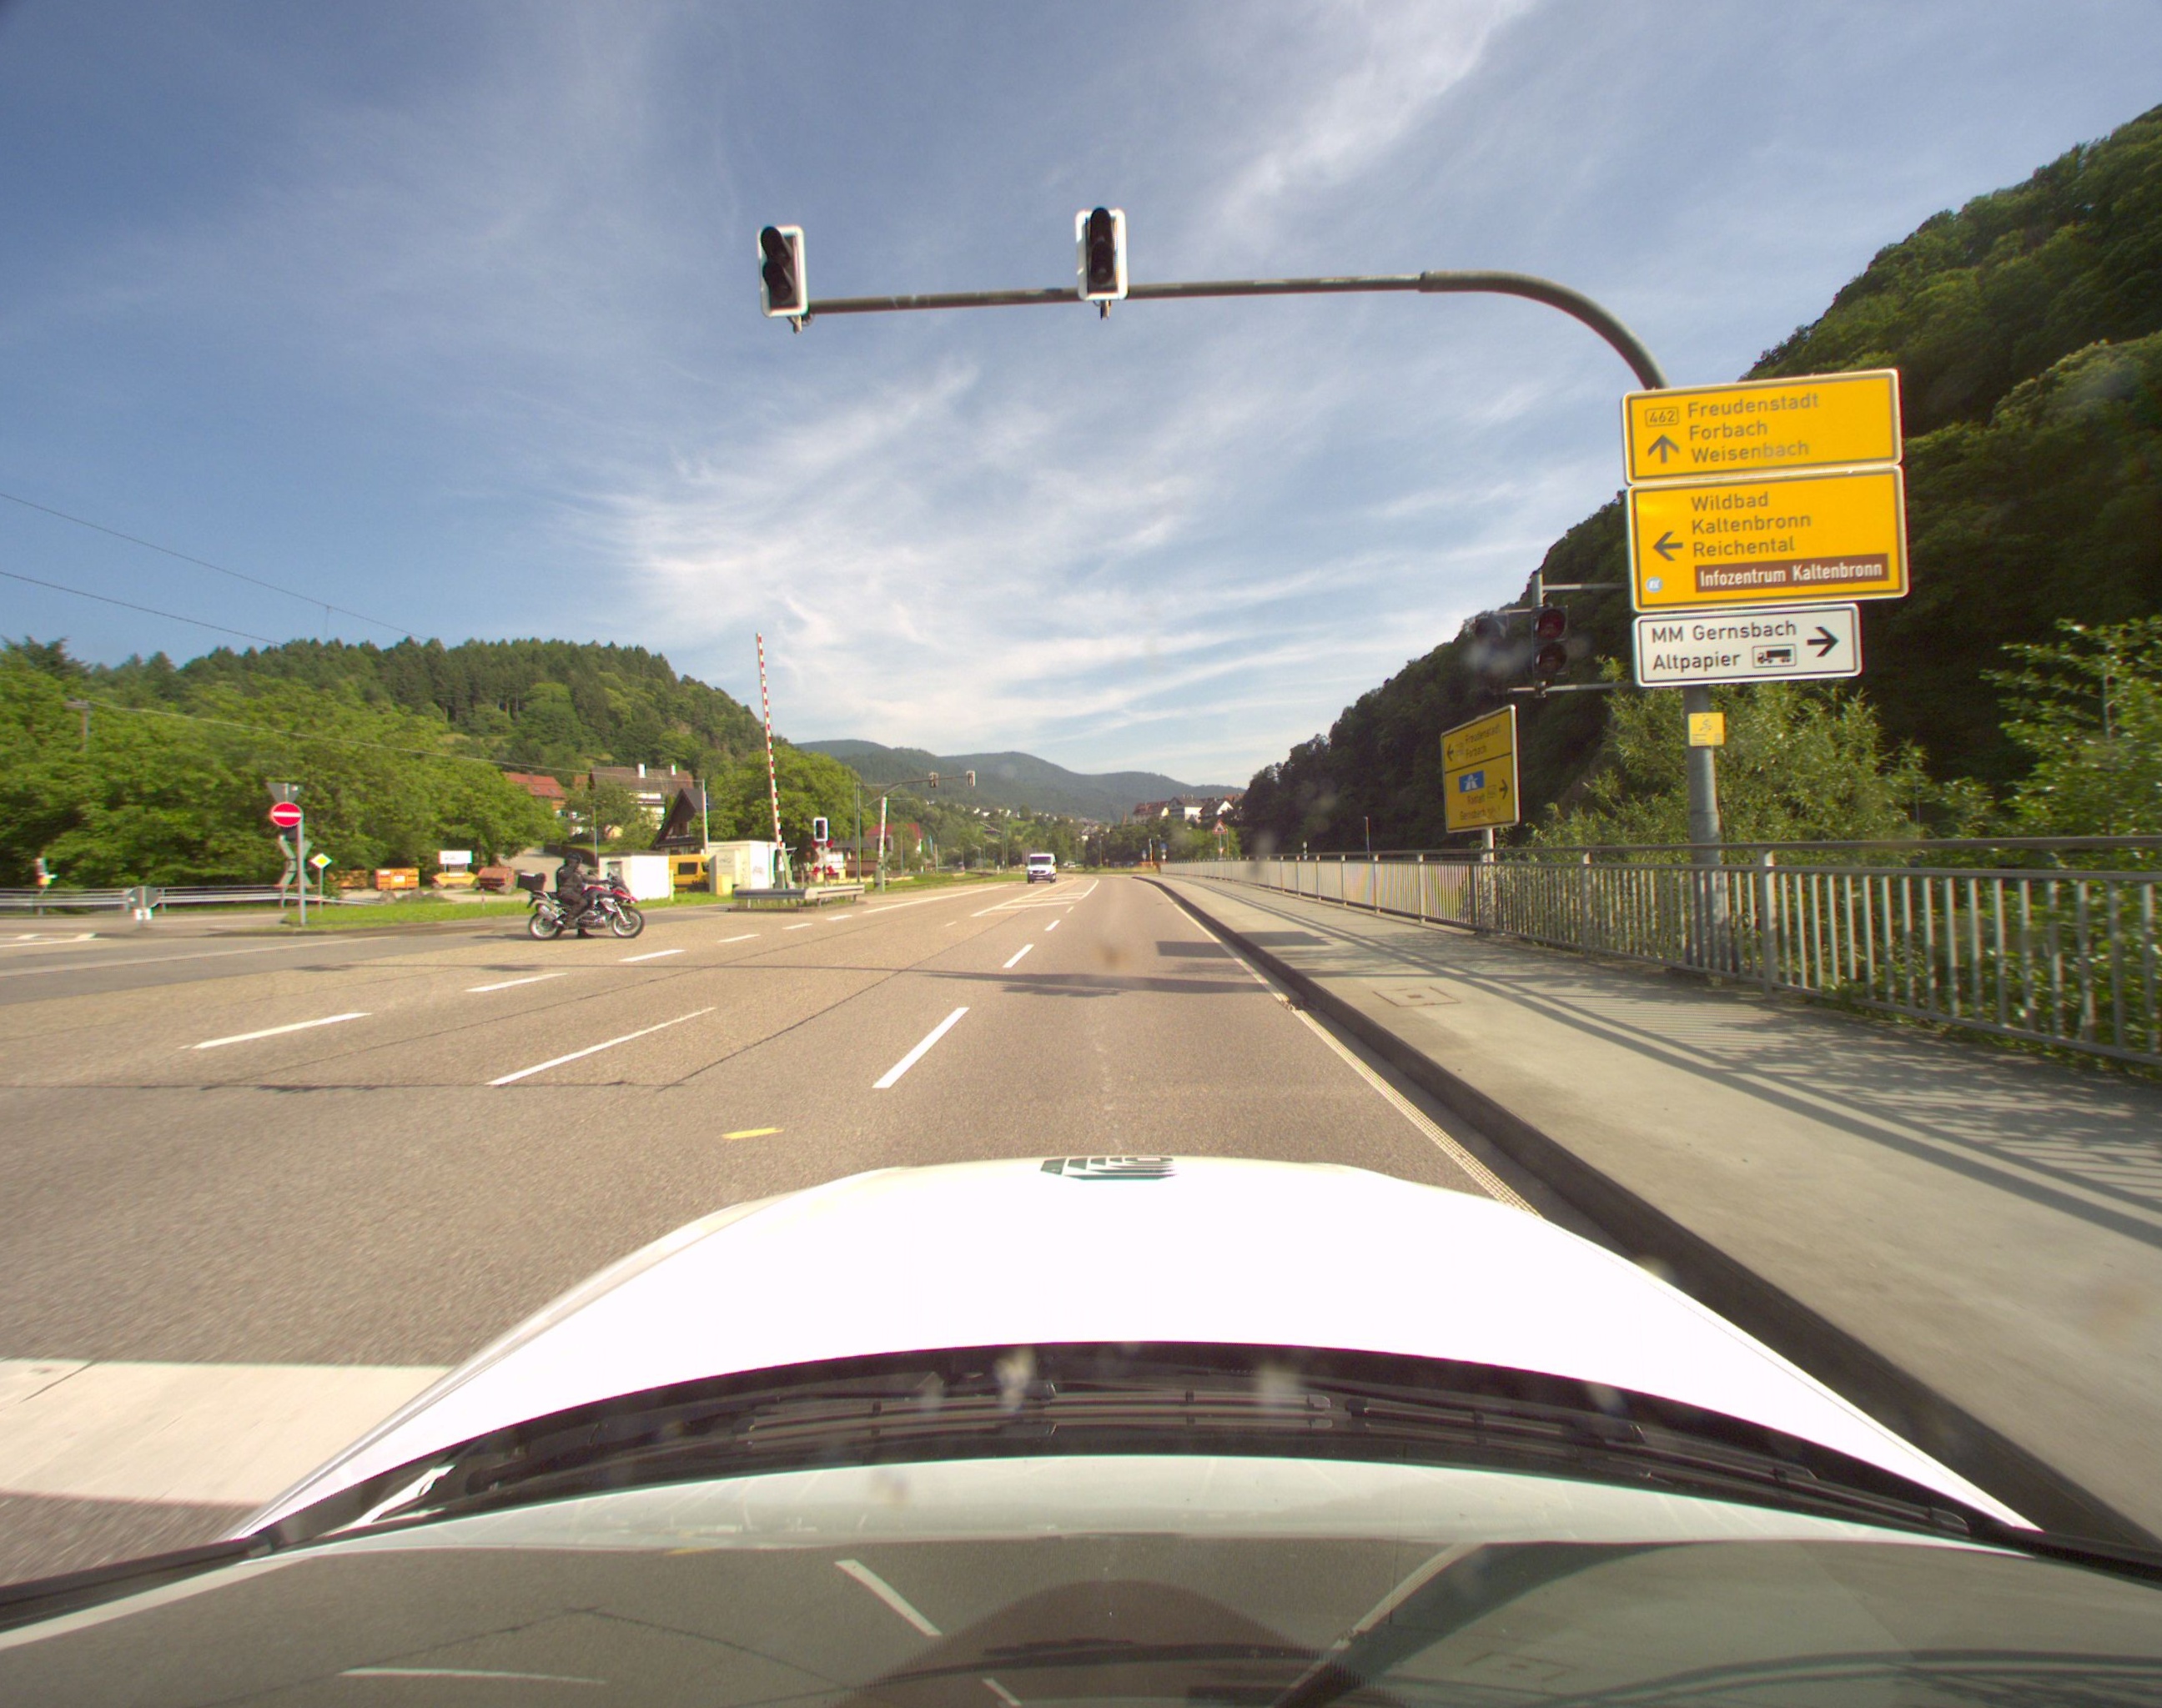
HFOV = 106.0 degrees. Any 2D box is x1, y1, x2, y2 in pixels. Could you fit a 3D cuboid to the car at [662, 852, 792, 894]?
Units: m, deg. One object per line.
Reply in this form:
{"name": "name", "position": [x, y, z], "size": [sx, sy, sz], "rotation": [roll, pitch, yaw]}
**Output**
{"name": "car", "position": [-22.358, 1.180, 51.579], "size": [7.018, 2.457, 2.957], "rotation": [-1, -1, 11]}

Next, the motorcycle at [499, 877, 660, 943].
{"name": "motorcycle", "position": [-10.212, 1.119, 16.709], "size": [2.587, 1.268, 1.001], "rotation": [0, -1, -13]}

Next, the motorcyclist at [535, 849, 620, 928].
{"name": "motorcyclist", "position": [-10.290, 0.690, 16.693], "size": [1.183, 1.544, 0.987], "rotation": [0, -1, -12]}

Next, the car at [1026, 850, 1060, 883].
{"name": "car", "position": [-2.945, 0.984, 63.819], "size": [2.111, 2.436, 5.231], "rotation": [-1, 0, 3]}
